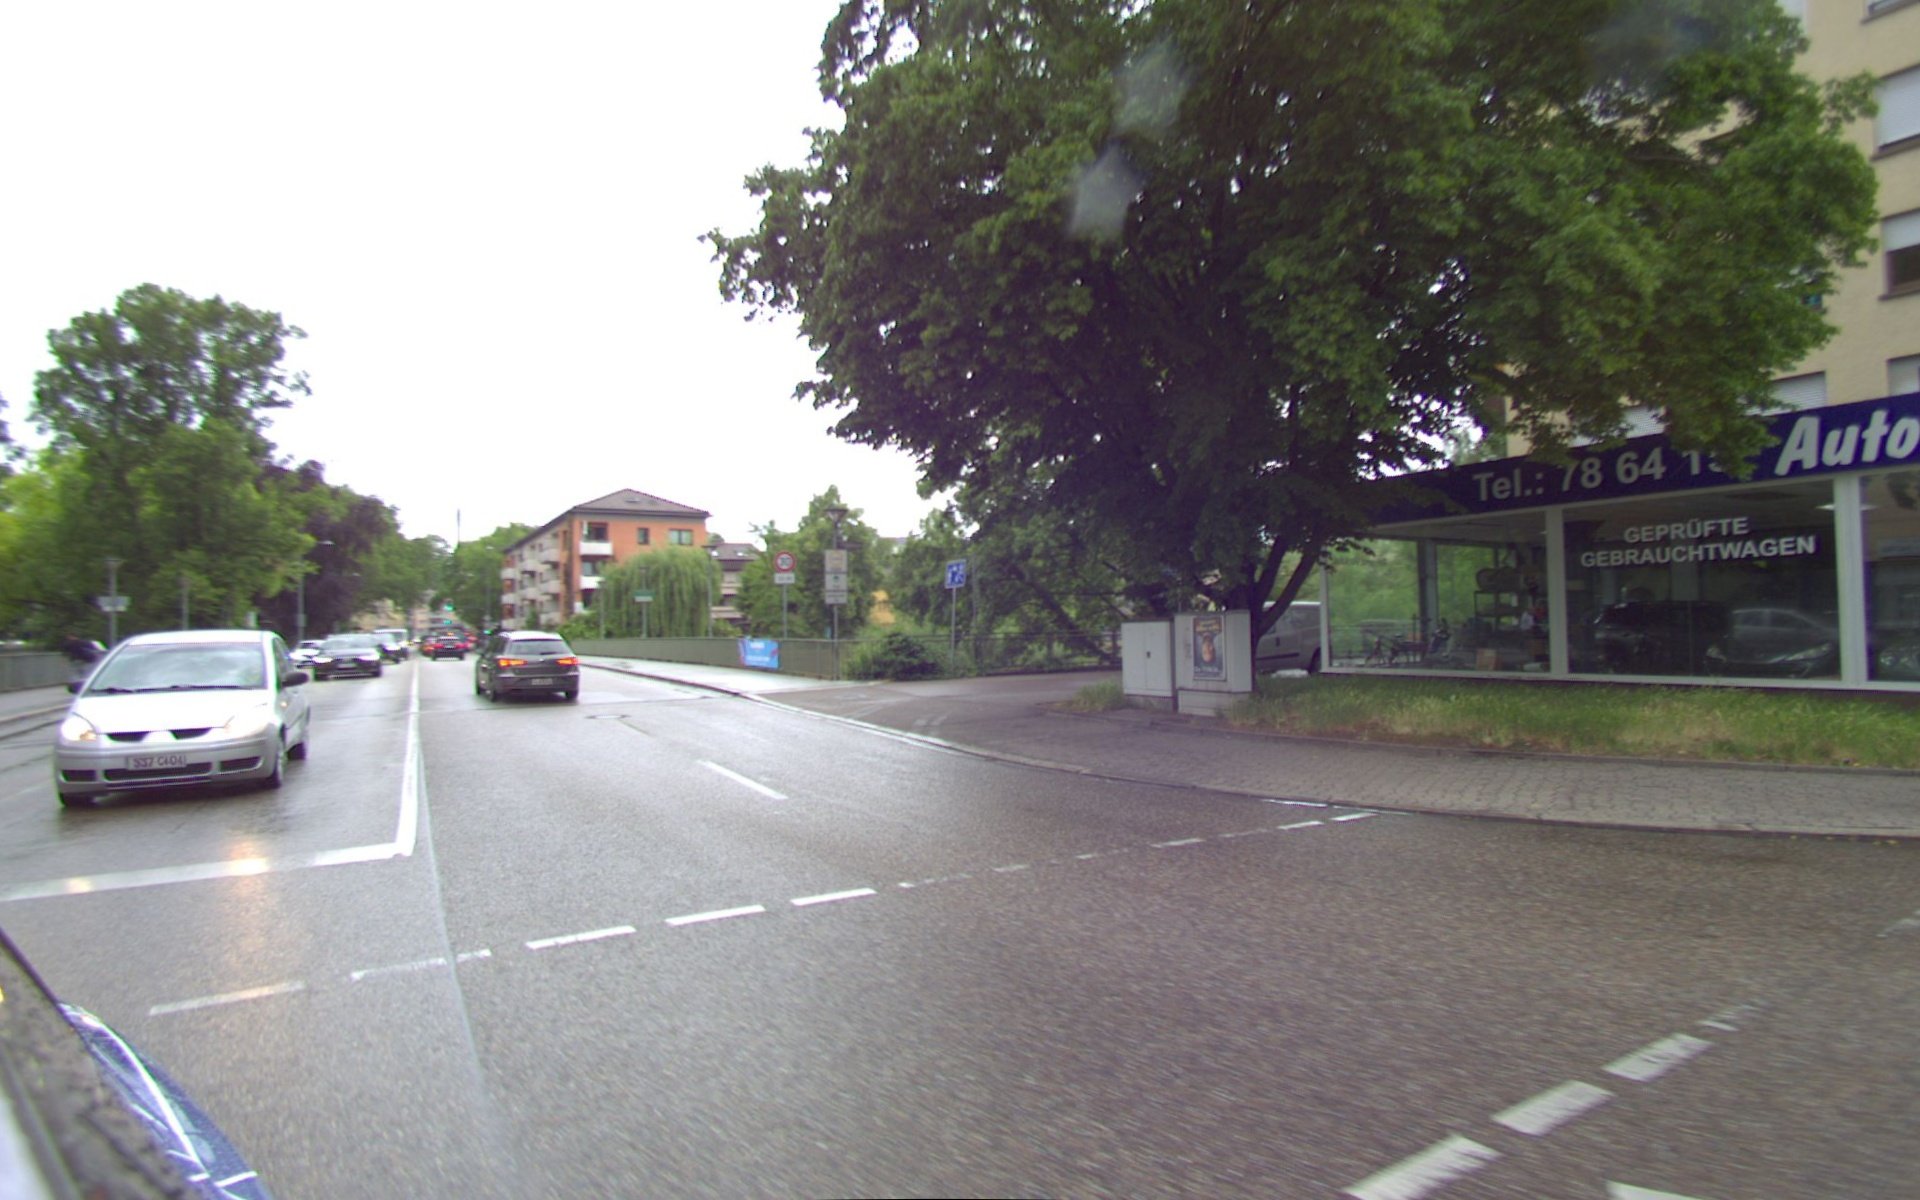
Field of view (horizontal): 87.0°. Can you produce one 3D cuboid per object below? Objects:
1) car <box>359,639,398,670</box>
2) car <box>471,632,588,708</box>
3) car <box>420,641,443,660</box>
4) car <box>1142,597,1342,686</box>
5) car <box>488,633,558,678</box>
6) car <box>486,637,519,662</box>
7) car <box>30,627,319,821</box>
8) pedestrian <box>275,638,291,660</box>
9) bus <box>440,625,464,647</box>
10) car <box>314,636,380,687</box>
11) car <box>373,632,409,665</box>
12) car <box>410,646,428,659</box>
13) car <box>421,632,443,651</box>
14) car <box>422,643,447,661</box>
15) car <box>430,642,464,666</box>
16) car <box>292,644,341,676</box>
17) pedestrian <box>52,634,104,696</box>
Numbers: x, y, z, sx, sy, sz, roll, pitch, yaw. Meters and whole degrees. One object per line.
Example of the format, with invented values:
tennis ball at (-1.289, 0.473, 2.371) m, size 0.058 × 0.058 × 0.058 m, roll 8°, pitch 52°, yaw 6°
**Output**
car at (-30.820, 2.882, 53.682) m, size 1.690 × 1.529 × 4.101 m, roll -1°, pitch -2°, yaw -29°
car at (-9.452, 1.461, 22.054) m, size 1.786 × 1.461 × 4.219 m, roll 0°, pitch -2°, yaw -31°
car at (-49.660, 4.703, 95.041) m, size 1.862 × 1.748 × 4.384 m, roll 1°, pitch -3°, yaw -28°
car at (6.657, 0.941, 23.684) m, size 4.680 × 1.868 × 2.004 m, roll 0°, pitch -4°, yaw -37°
car at (-15.686, 1.947, 36.223) m, size 1.704 × 1.471 × 4.441 m, roll 1°, pitch -2°, yaw -31°
car at (-27.647, 2.945, 61.102) m, size 1.603 × 1.430 × 3.697 m, roll 0°, pitch -2°, yaw -28°
car at (-8.019, 1.125, 10.793) m, size 1.690 × 1.529 × 4.821 m, roll -1°, pitch -2°, yaw -29°
pedestrian at (-52.759, 3.821, 78.864) m, size 0.836 × 1.689 × 1.171 m, roll 2°, pitch -3°, yaw -29°
bus at (-71.804, 5.132, 142.972) m, size 2.655 × 2.962 × 12.122 m, roll 1°, pitch -2°, yaw -28°
car at (-20.289, 2.002, 33.598) m, size 1.690 × 1.529 × 4.101 m, roll -1°, pitch -2°, yaw -29°
car at (-38.438, 3.247, 68.397) m, size 2.003 × 2.147 × 4.013 m, roll 0°, pitch -2°, yaw -28°
car at (-59.833, 5.780, 111.944) m, size 1.721 × 1.450 × 4.012 m, roll 0°, pitch -3°, yaw -28°
car at (-66.240, 5.200, 126.973) m, size 2.257 × 2.326 × 6.528 m, roll 1°, pitch -3°, yaw -29°
car at (-44.142, 4.354, 84.975) m, size 1.756 × 1.413 × 4.231 m, roll 1°, pitch -3°, yaw -28°
car at (-31.460, 3.285, 62.023) m, size 1.685 × 1.427 × 4.106 m, roll 1°, pitch -3°, yaw -28°
car at (-33.988, 3.154, 53.538) m, size 1.874 × 1.558 × 4.013 m, roll 0°, pitch -2°, yaw -28°
pedestrian at (-23.545, 1.726, 27.042) m, size 0.850 × 1.631 × 0.842 m, roll 1°, pitch -2°, yaw -28°
